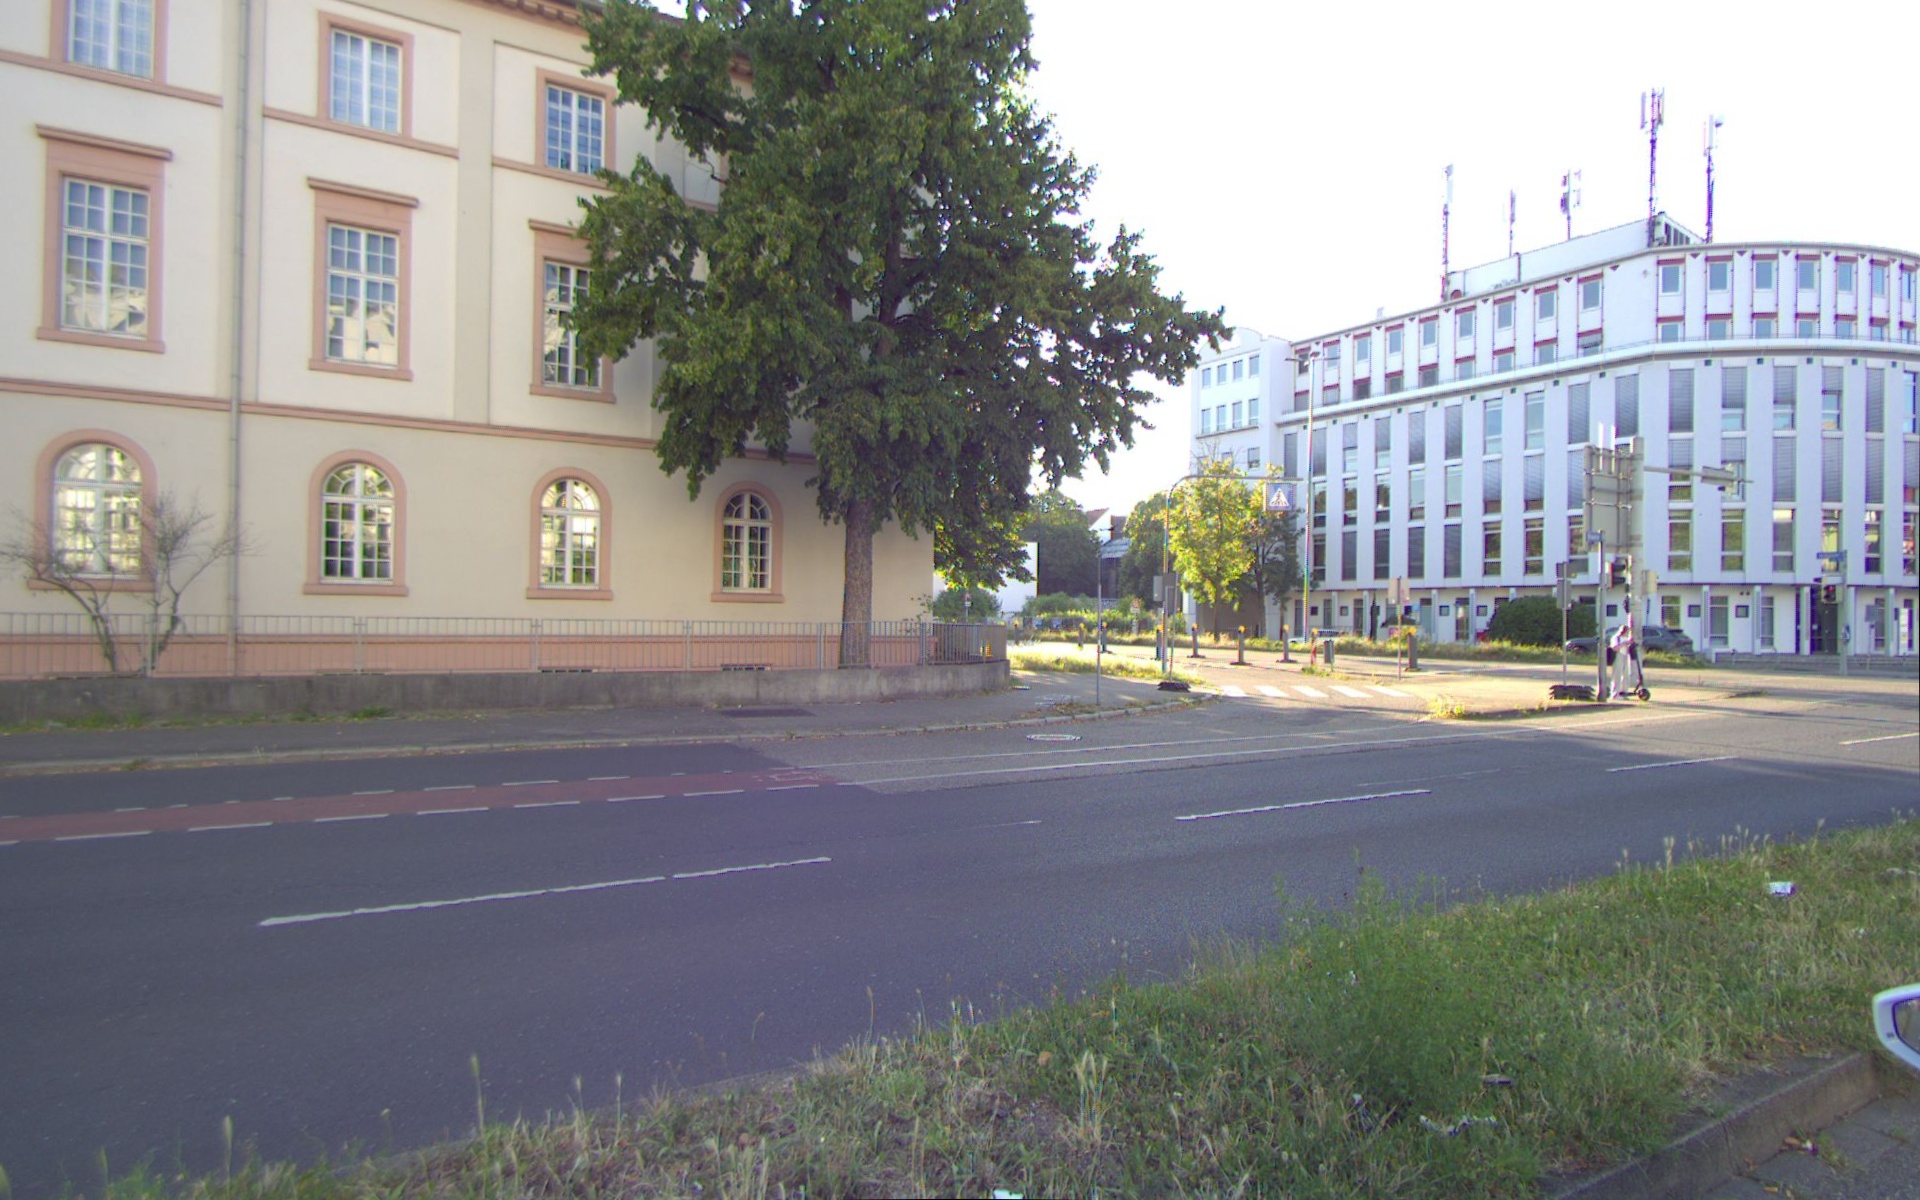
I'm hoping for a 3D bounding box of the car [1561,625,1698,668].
[{"bbox_3d":[26.798,1.810,40.298,1.774,1.570,4.301,2,-1,-41],"label":"car"}]

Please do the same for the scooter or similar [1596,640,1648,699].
[{"bbox_3d":[14.614,1.530,22.181,0.368,1.250,0.885,1,-1,-40],"label":"scooter or similar"}]

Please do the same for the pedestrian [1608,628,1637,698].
[{"bbox_3d":[14.710,1.393,22.315,0.332,1.525,0.470,1,-1,-41],"label":"pedestrian"}]

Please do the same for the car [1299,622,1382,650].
[{"bbox_3d":[20.676,1.923,54.755,1.770,1.439,3.961,1,-1,-35],"label":"car"}]
